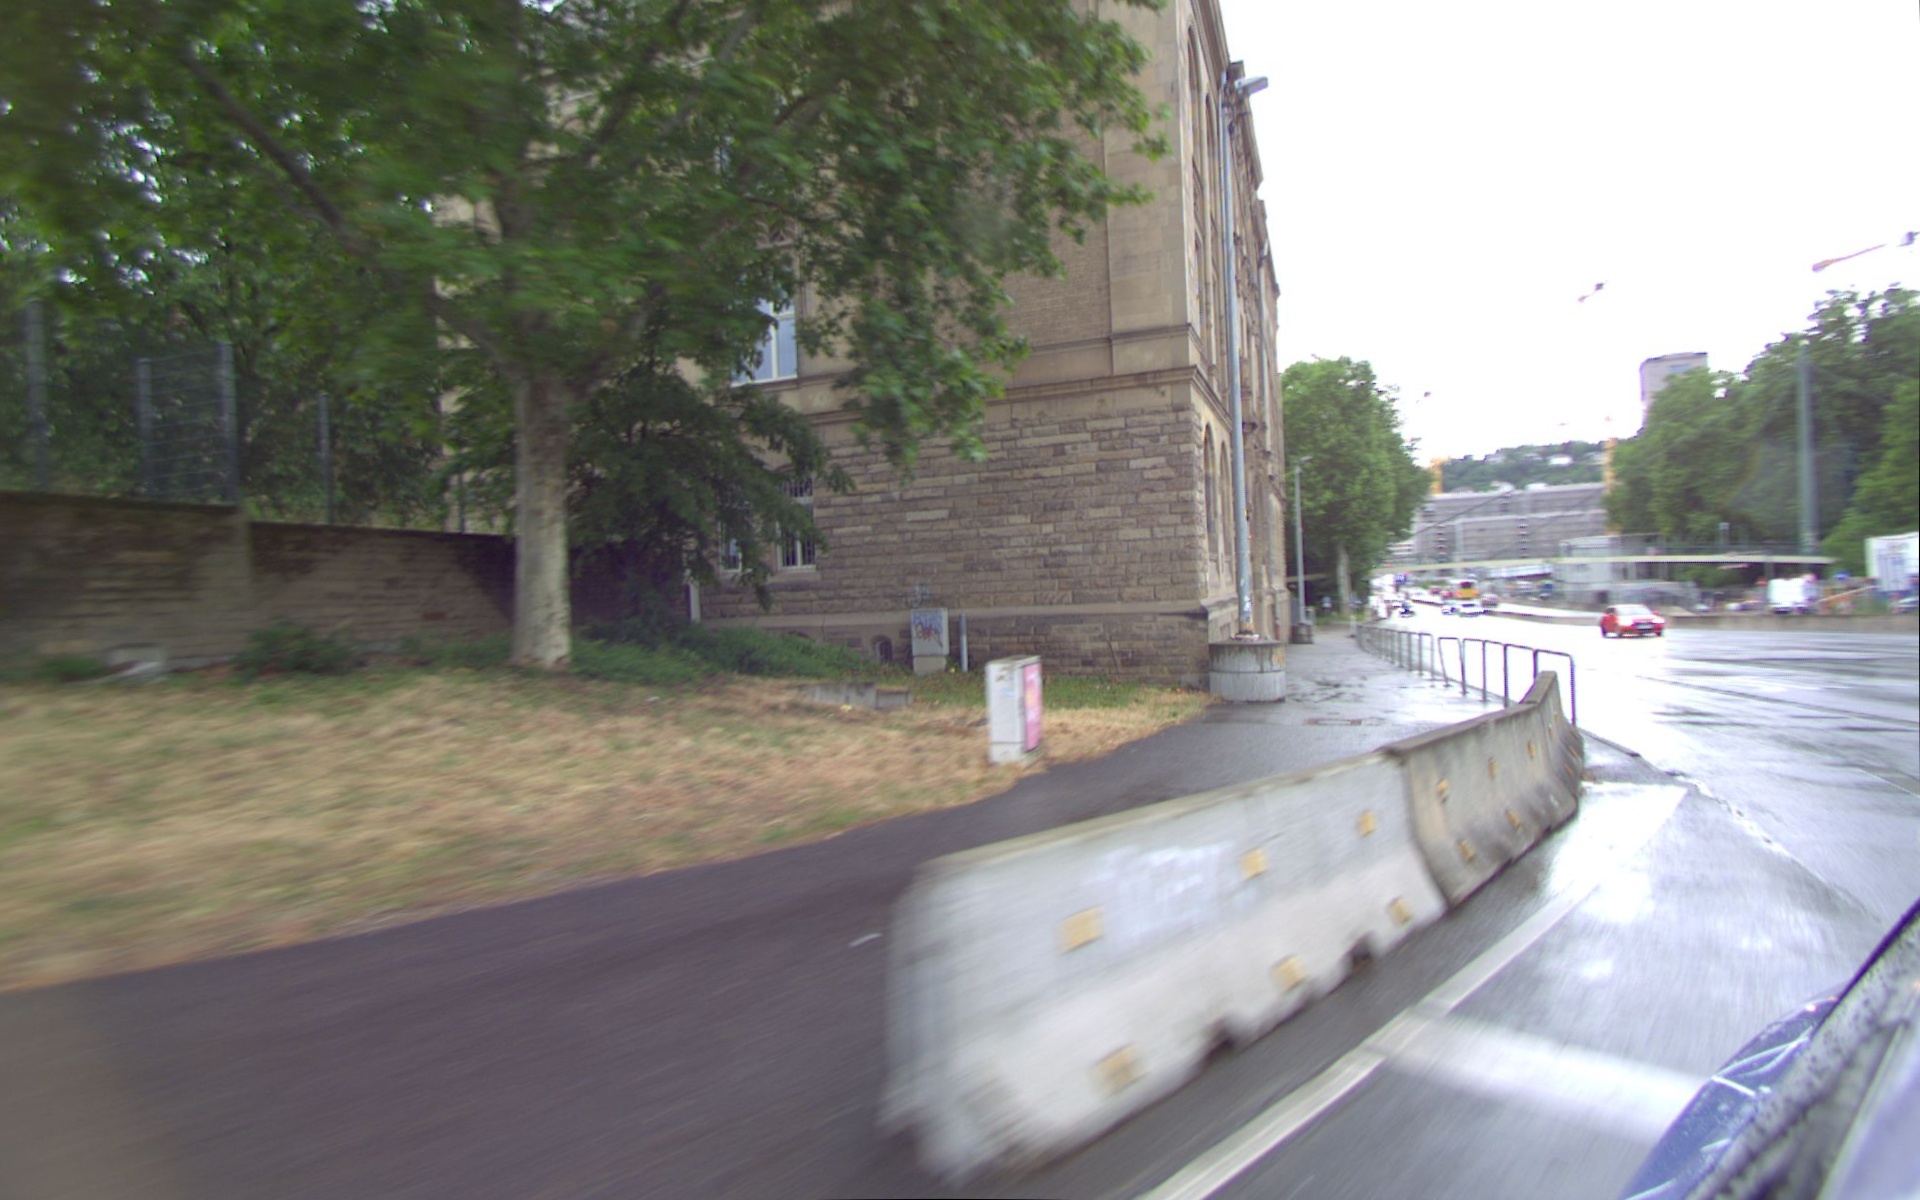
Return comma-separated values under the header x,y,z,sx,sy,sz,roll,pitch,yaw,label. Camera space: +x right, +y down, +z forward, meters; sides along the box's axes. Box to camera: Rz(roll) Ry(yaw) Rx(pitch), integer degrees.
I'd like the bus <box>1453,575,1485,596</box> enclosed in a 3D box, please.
x,y,z,sx,sy,sz,roll,pitch,yaw,label
82.991,-2.308,165.305,3.230,2.978,8.896,-5,-2,19,bus

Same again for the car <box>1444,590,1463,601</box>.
x,y,z,sx,sy,sz,roll,pitch,yaw,label
77.218,-0.691,158.447,1.815,1.596,4.417,-3,-2,15,car

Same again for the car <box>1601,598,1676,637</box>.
x,y,z,sx,sy,sz,roll,pitch,yaw,label
30.149,0.785,45.081,1.669,1.572,3.974,-3,-2,19,car

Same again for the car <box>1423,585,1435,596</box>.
x,y,z,sx,sy,sz,roll,pitch,yaw,label
91.505,-1.789,197.450,1.977,2.040,3.969,-3,-2,23,car

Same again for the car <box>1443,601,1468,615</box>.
x,y,z,sx,sy,sz,roll,pitch,yaw,label
57.816,0.965,118.151,1.962,1.596,4.413,-3,-2,18,car

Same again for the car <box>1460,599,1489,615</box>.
x,y,z,sx,sy,sz,roll,pitch,yaw,label
54.101,0.779,106.556,1.962,1.596,4.413,-3,-2,18,car

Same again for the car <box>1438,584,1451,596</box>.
x,y,z,sx,sy,sz,roll,pitch,yaw,label
92.222,-1.890,192.681,1.977,2.040,3.969,-3,-2,23,car

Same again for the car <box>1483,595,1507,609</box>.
x,y,z,sx,sy,sz,roll,pitch,yaw,label
69.072,0.250,130.714,1.815,1.596,4.417,-3,-2,15,car

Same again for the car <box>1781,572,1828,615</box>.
x,y,z,sx,sy,sz,roll,pitch,yaw,label
58.464,-0.448,70.034,2.072,2.773,4.521,-4,-3,43,car
